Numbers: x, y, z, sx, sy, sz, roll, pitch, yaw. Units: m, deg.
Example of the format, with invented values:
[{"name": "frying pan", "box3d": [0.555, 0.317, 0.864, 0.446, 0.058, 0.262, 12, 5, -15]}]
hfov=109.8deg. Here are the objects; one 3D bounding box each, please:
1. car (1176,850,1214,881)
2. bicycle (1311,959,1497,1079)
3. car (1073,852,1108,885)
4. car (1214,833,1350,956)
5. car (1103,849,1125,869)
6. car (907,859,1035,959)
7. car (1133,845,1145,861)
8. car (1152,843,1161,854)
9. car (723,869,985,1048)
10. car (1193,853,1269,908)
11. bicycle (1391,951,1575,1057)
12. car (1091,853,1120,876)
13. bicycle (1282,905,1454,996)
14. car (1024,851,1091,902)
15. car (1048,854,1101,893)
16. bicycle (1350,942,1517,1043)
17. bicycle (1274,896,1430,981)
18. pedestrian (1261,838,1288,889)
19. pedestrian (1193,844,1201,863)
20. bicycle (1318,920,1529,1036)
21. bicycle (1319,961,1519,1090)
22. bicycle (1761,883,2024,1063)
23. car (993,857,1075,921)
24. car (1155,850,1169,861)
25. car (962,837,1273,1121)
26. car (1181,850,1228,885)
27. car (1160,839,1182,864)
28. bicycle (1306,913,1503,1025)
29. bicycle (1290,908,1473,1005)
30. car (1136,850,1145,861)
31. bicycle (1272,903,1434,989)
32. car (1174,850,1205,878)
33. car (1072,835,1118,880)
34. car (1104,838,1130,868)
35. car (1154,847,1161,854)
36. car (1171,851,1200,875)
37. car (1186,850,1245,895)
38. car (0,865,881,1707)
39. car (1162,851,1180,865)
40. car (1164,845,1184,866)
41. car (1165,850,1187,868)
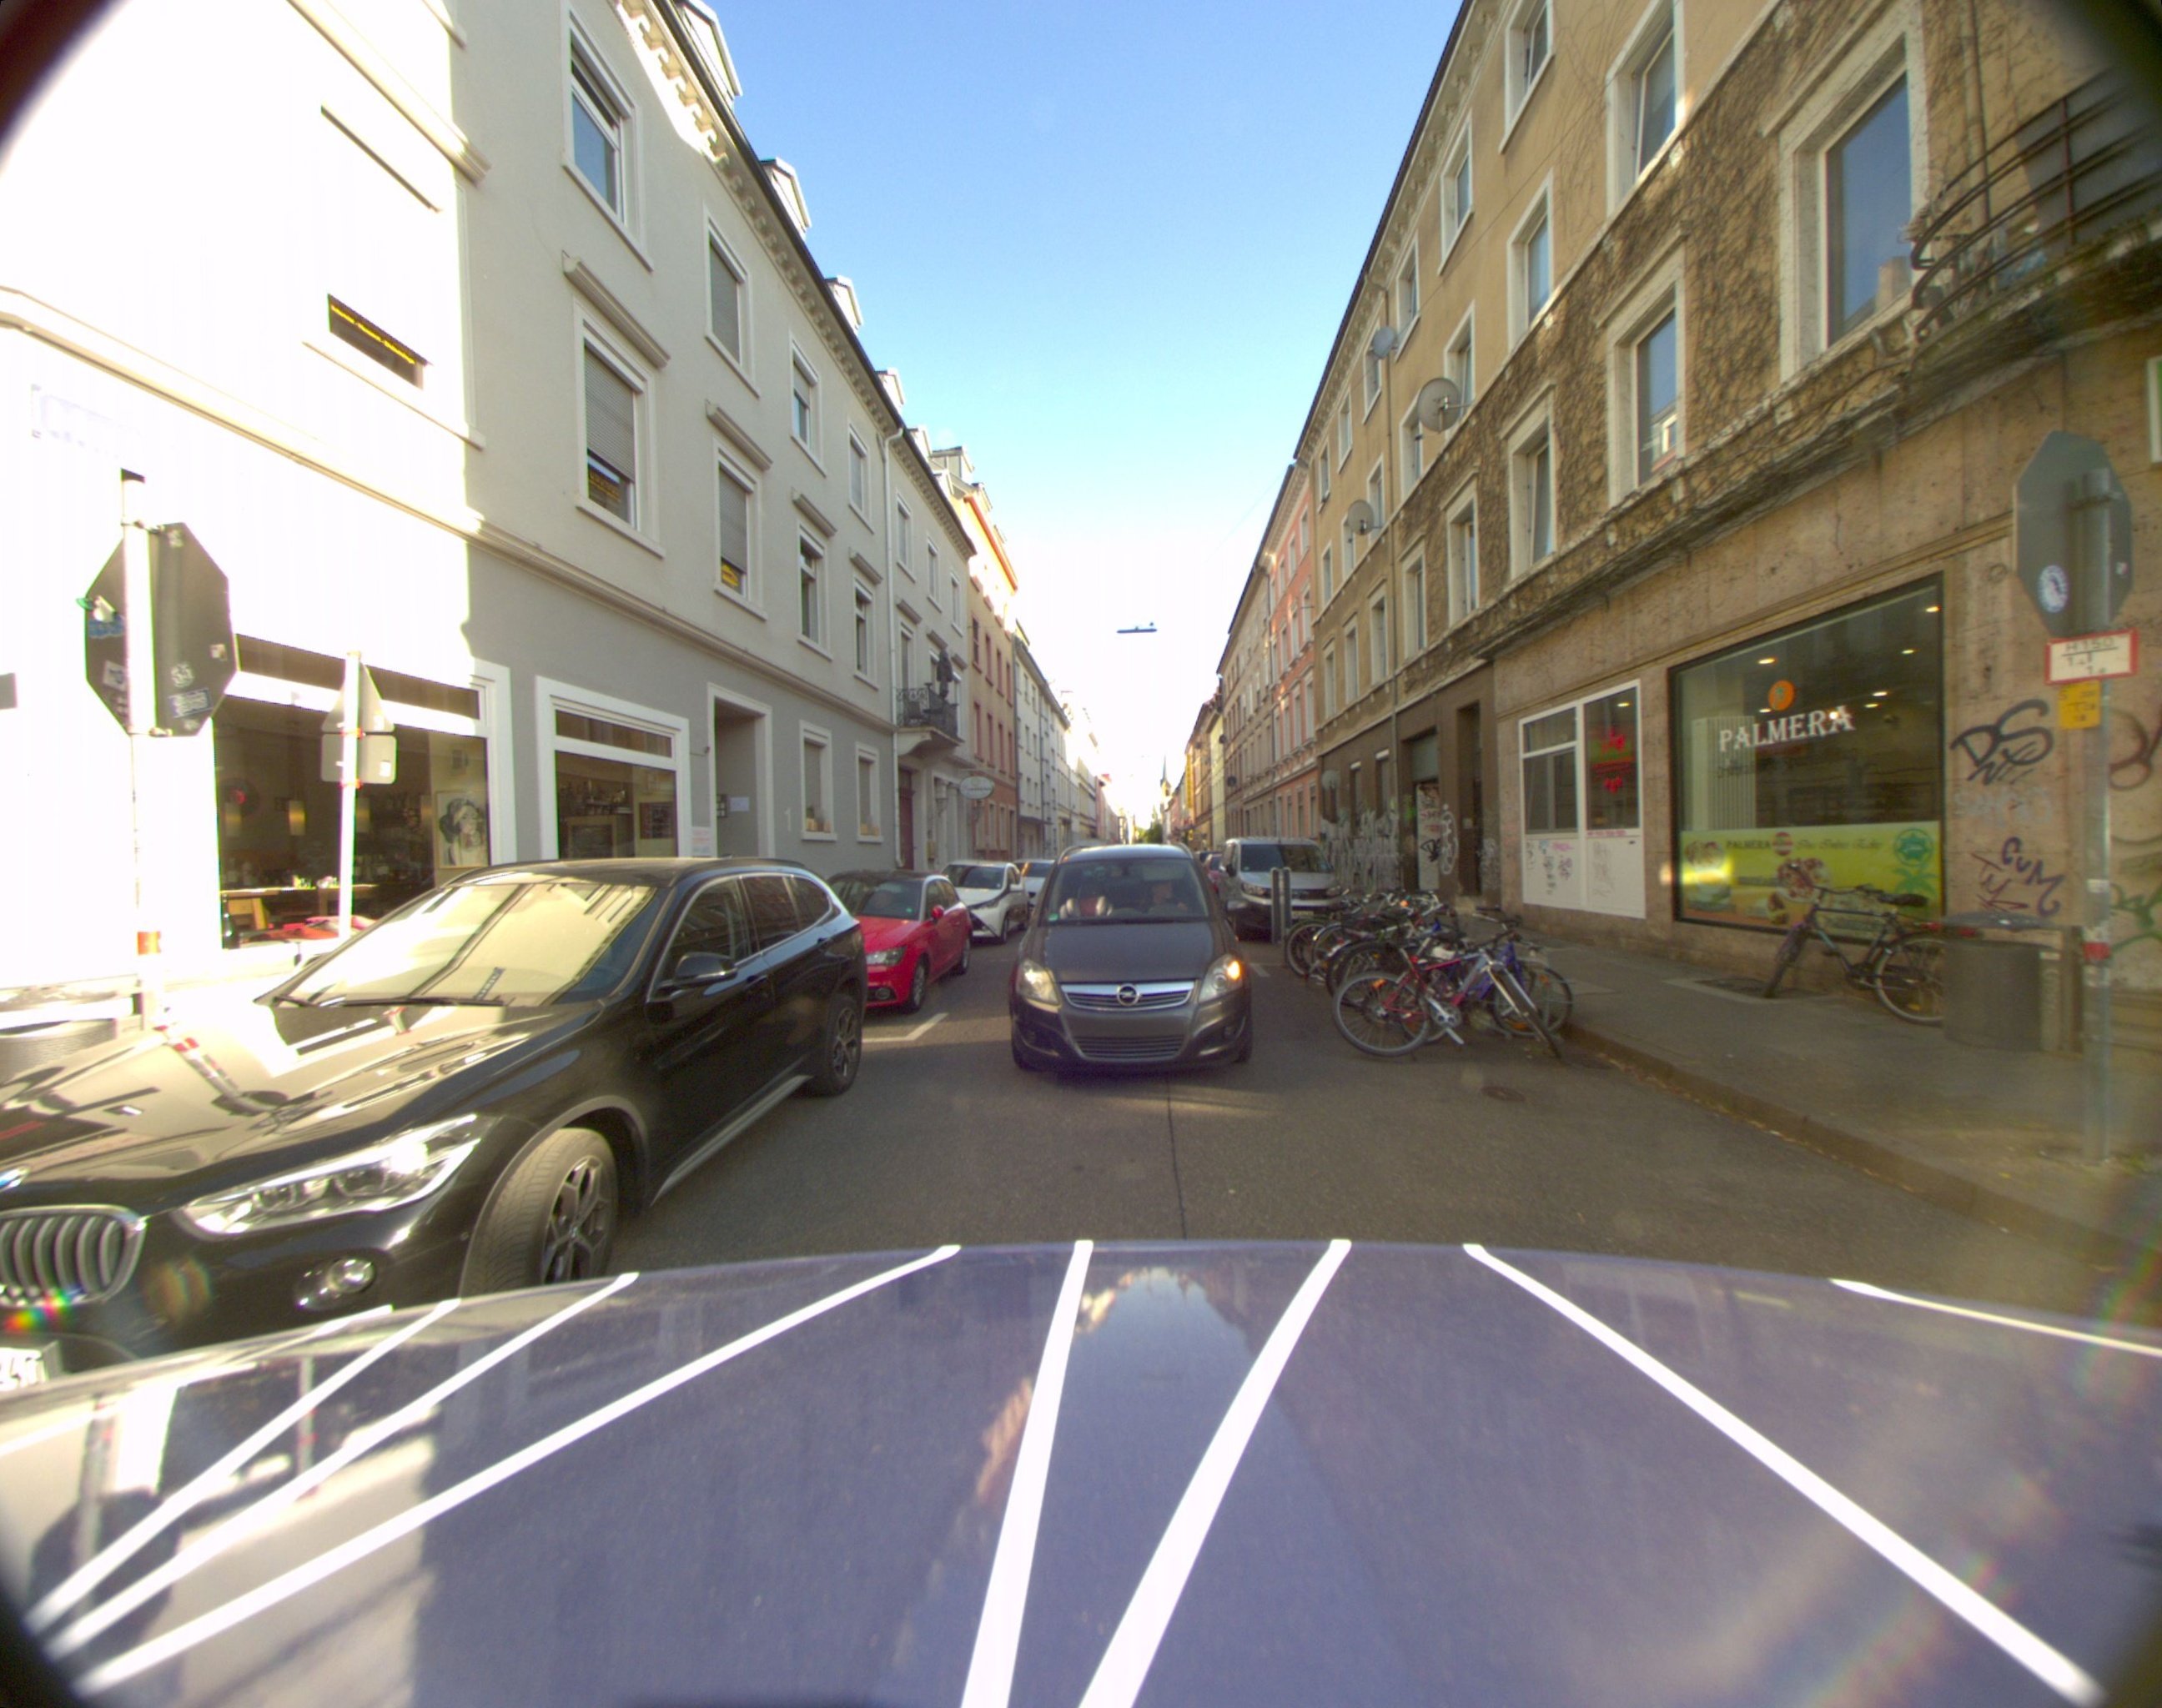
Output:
[{"name": "car", "box3d": [5.823, 0.573, 39.190, 1.682, 1.454, 4.314, -1, 0, 5]}, {"name": "bicycle", "box3d": [2.517, 1.274, 5.954, 1.312, 0.813, 0.355, -1, 1, -5]}, {"name": "car", "box3d": [0.545, 0.700, 39.881, 1.683, 1.550, 3.860, -3, 0, 2]}, {"name": "car", "box3d": [3.569, 0.615, 14.275, 1.682, 1.899, 4.520, 2, 1, 5]}, {"name": "car", "box3d": [2.894, 0.449, 66.805, 1.683, 1.626, 3.861, -3, 0, 5]}, {"name": "car", "box3d": [-1.981, 0.954, 14.776, 1.640, 1.577, 3.789, -3, 0, 3]}, {"name": "car", "box3d": [12.902, -0.317, 168.292, 2.436, 3.404, 5.545, -3, 0, 5]}, {"name": "car", "box3d": [23.157, -1.720, 232.981, 2.564, 3.029, 7.063, -3, 0, 5]}, {"name": "car", "box3d": [-2.364, 1.019, 9.026, 1.649, 1.494, 3.955, -3, 0, 3]}, {"name": "car", "box3d": [4.422, 0.730, 22.925, 1.683, 1.465, 4.204, 1, 1, 4]}, {"name": "bicycle", "box3d": [3.368, 1.243, 6.393, 1.390, 0.813, 0.361, 1, 0, -5]}, {"name": "car", "box3d": [1.704, 0.671, 51.573, 1.683, 1.434, 3.861, -3, 0, 5]}, {"name": "bicycle", "box3d": [3.238, 1.087, 8.650, 1.768, 0.956, 0.422, -1, 1, 4]}, {"name": "car", "box3d": [-0.746, 0.752, 27.229, 1.682, 1.588, 4.192, -3, 0, 7]}, {"name": "car", "box3d": [-0.207, 0.766, 31.706, 1.771, 1.386, 4.496, -3, 0, 4]}, {"name": "bicycle", "box3d": [3.088, 1.205, 6.691, 1.312, 0.813, 0.381, 1, 0, -5]}, {"name": "bicycle", "box3d": [3.362, 1.045, 9.504, 1.768, 0.983, 0.463, -1, 1, 4]}, {"name": "pedestrian", "box3d": [7.127, 0.336, 28.019, 0.790, 1.820, 0.595, -3, 1, 5]}, {"name": "pedestrian", "box3d": [11.405, -0.025, 74.706, 0.626, 1.820, 0.595, -3, 1, 6]}, {"name": "bicycle", "box3d": [3.164, 1.139, 7.066, 1.769, 0.956, 0.427, -1, 1, -2]}, {"name": "bicycle", "box3d": [2.461, 1.239, 5.572, 1.312, 0.813, 0.371, -1, 1, -5]}, {"name": "bicycle", "box3d": [6.008, 0.813, 5.760, 0.398, 1.086, 1.592, -1, 1, 5]}, {"name": "car", "box3d": [-1.218, 0.890, 21.379, 1.683, 1.501, 4.191, -3, 0, 4]}, {"name": "car", "box3d": [10.399, 0.180, 97.289, 1.682, 1.381, 3.861, -1, 0, 5]}, {"name": "car", "box3d": [0.409, 0.752, 7.175, 1.798, 1.652, 5.185, -3, 0, 4]}, {"name": "car", "box3d": [5.520, 0.575, 34.410, 1.683, 1.483, 3.612, -1, 0, 3]}, {"name": "car", "box3d": [9.769, -0.269, 82.950, 2.093, 2.576, 5.844, -1, 0, 4]}, {"name": "bicycle", "box3d": [3.170, 1.110, 7.483, 1.770, 0.956, 0.481, -1, 1, -7]}, {"name": "bicycle", "box3d": [3.210, 1.097, 8.203, 1.768, 0.956, 0.443, -1, 1, 4]}, {"name": "car", "box3d": [12.681, 0.287, 161.477, 1.683, 2.077, 4.160, -3, 0, 5]}, {"name": "bicycle", "box3d": [3.219, 1.090, 9.069, 1.768, 0.956, 0.405, -1, 1, 4]}, {"name": "car", "box3d": [6.346, 0.552, 44.154, 1.682, 1.454, 3.862, -1, 0, 9]}, {"name": "car", "box3d": [0.927, 0.180, 46.580, 2.049, 2.498, 6.026, -3, 0, 7]}, {"name": "car", "box3d": [3.517, -0.115, 72.942, 2.049, 2.662, 6.187, -3, 0, 5]}, {"name": "car", "box3d": [20.521, -0.884, 203.001, 1.683, 1.851, 4.160, -3, 0, 5]}, {"name": "car", "box3d": [6.753, 0.545, 49.500, 1.682, 1.454, 3.861, -1, 0, 5]}, {"name": "car", "box3d": [4.805, 0.630, 27.475, 1.683, 1.540, 2.960, 0, 0, 1]}, {"name": "car", "box3d": [-2.558, 0.969, 3.665, 1.764, 1.652, 4.198, -3, 0, 3]}, {"name": "car", "box3d": [9.128, 0.370, 76.945, 1.682, 1.381, 3.861, -1, 0, 5]}, {"name": "car", "box3d": [8.803, 0.135, 71.671, 1.751, 1.880, 4.773, -1, 0, 7]}, {"name": "car", "box3d": [8.112, 0.426, 64.988, 1.682, 1.407, 3.861, -1, 0, 5]}]
